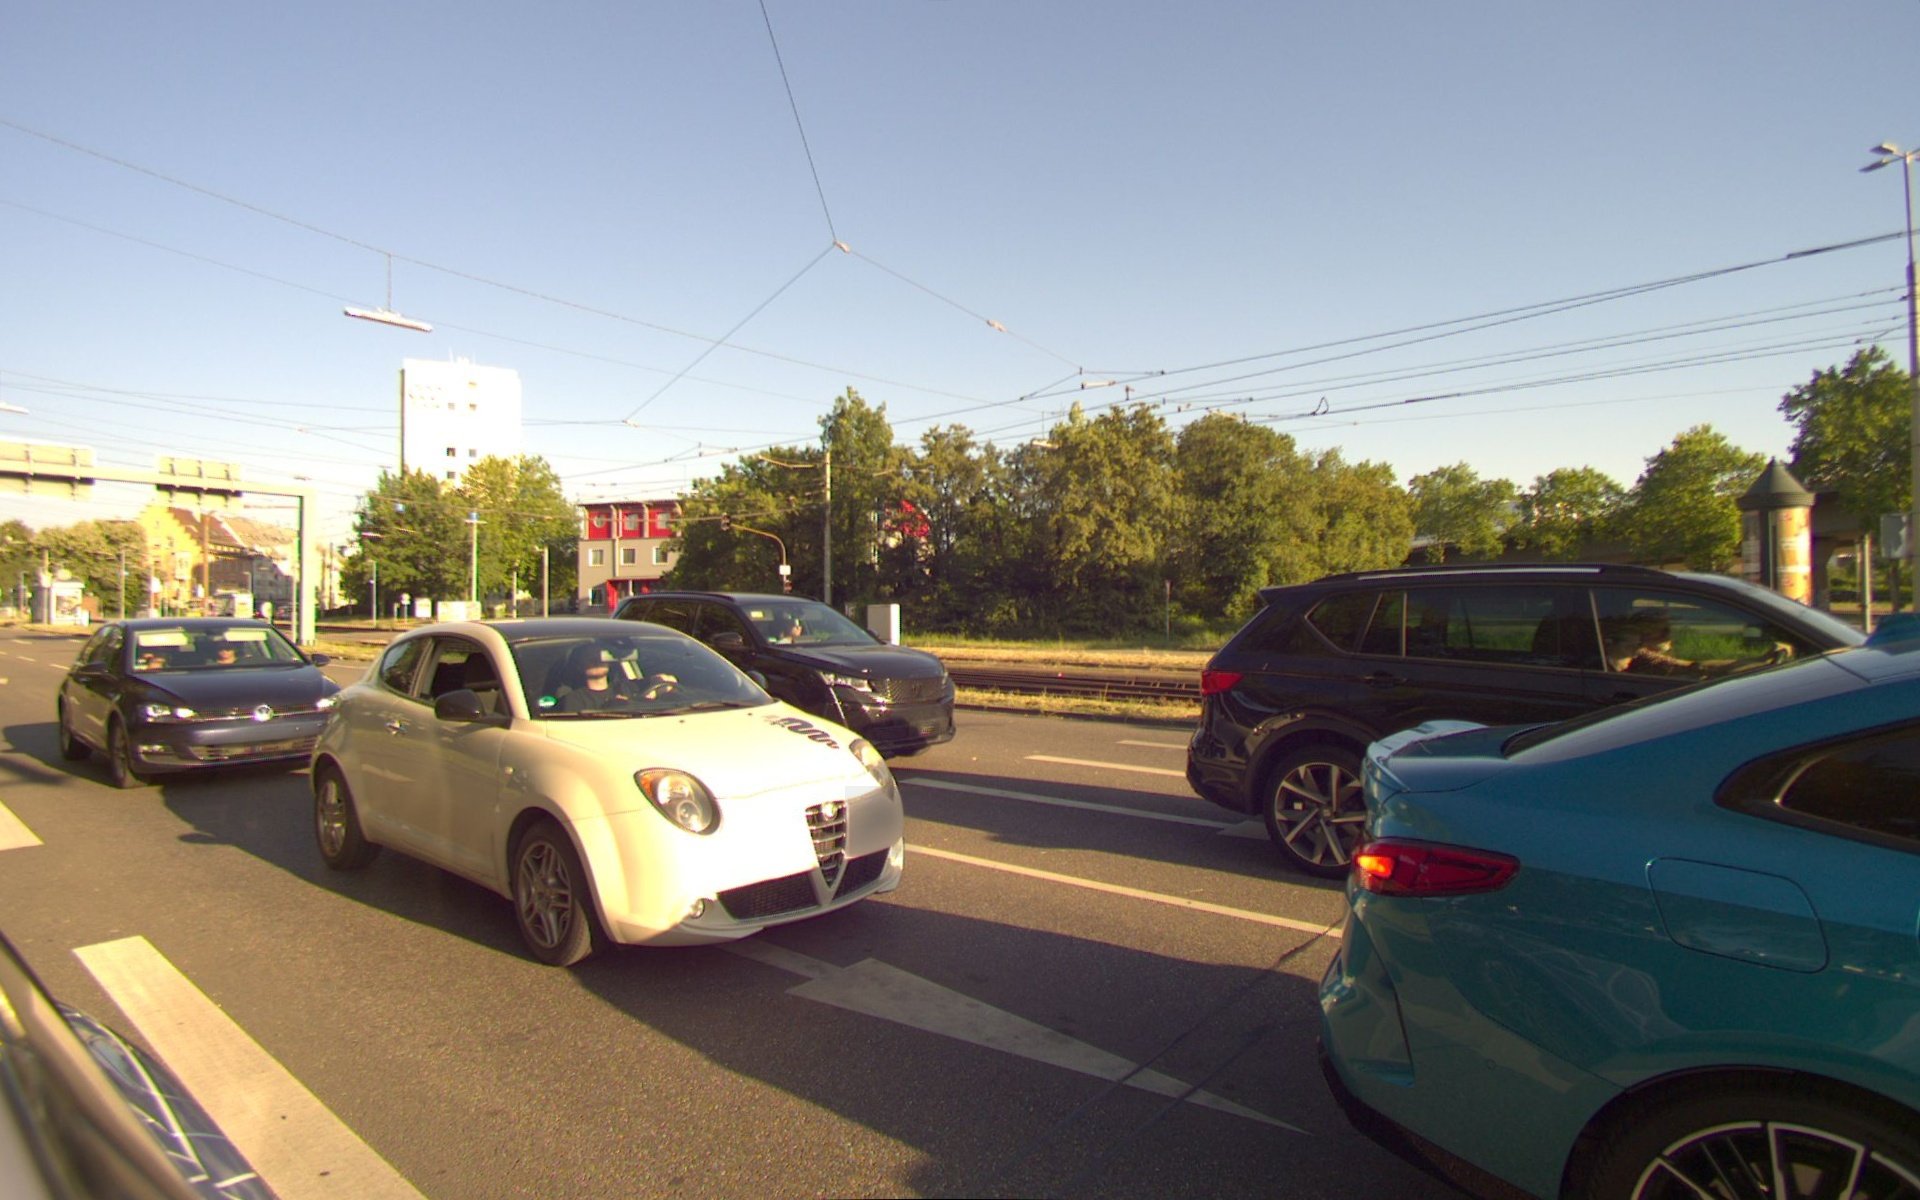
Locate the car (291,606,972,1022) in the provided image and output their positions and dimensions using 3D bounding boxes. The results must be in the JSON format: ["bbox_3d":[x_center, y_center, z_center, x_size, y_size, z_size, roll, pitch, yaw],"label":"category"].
[{"bbox_3d":[-1.969,0.772,5.413,3.921,1.441,1.644,-1,-1,40],"label":"car"}]

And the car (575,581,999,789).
[{"bbox_3d":[-1.959,0.716,10.361,4.601,1.661,1.894,-1,-1,43],"label":"car"}]

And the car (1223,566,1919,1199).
[{"bbox_3d":[2.875,0.651,1.475,4.507,1.428,1.767,-1,-1,39],"label":"car"}]

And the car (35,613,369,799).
[{"bbox_3d":[-7.453,0.859,9.830,3.921,1.441,1.759,-1,-1,40],"label":"car"}]

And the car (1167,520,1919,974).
[{"bbox_3d":[3.551,0.564,5.053,4.598,1.694,1.896,-1,-1,40],"label":"car"}]
